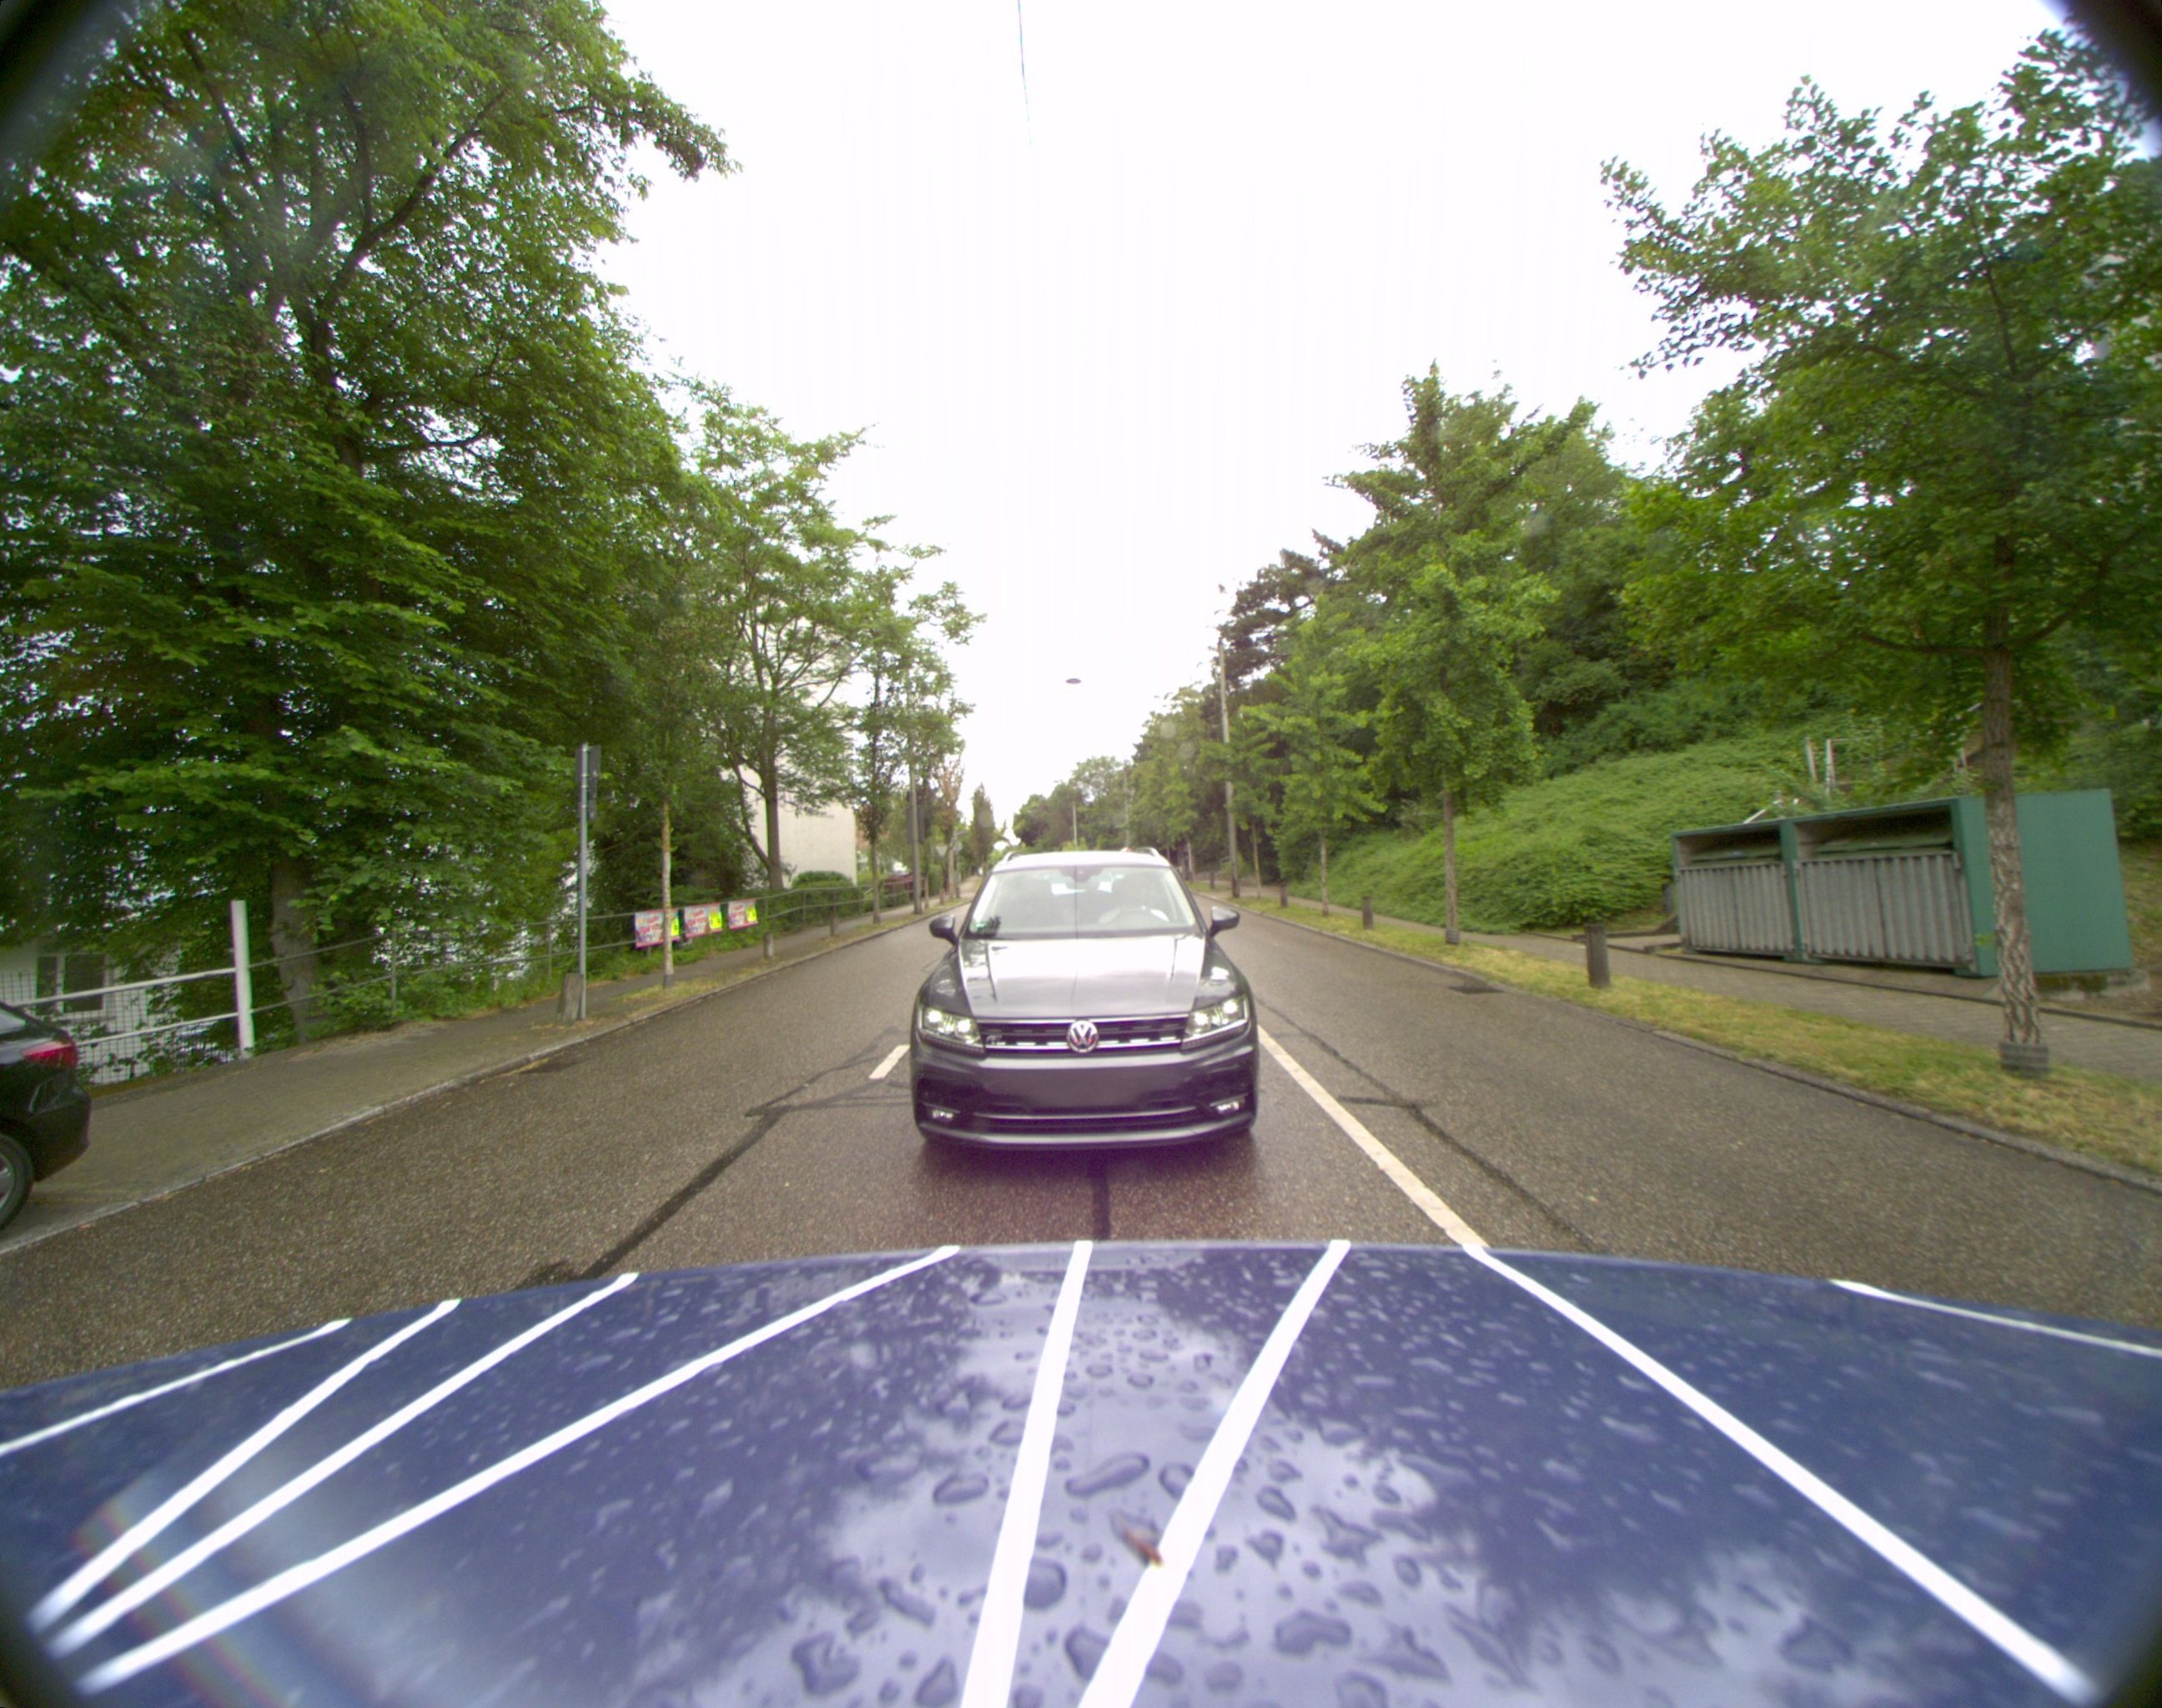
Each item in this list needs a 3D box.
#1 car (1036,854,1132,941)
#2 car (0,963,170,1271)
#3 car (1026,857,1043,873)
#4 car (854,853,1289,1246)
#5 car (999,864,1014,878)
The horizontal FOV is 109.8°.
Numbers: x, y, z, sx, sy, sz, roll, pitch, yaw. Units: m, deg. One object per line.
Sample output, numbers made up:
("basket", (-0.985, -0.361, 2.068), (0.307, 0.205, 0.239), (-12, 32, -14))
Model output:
("car", (0.084, 0.862, 17.253), (1.834, 1.608, 4.350), (-3, 1, 1))
("car", (-6.339, 1.375, 2.223), (1.999, 1.426, 4.442), (-1, 0, -1))
("car", (-6.580, 1.537, 107.288), (1.835, 2.003, 4.054), (-3, 1, -9))
("car", (-0.011, 0.862, 5.481), (1.834, 1.608, 4.292), (-3, 1, 1))
("car", (-10.325, 2.320, 105.152), (1.893, 1.710, 4.233), (-1, 1, -9))
